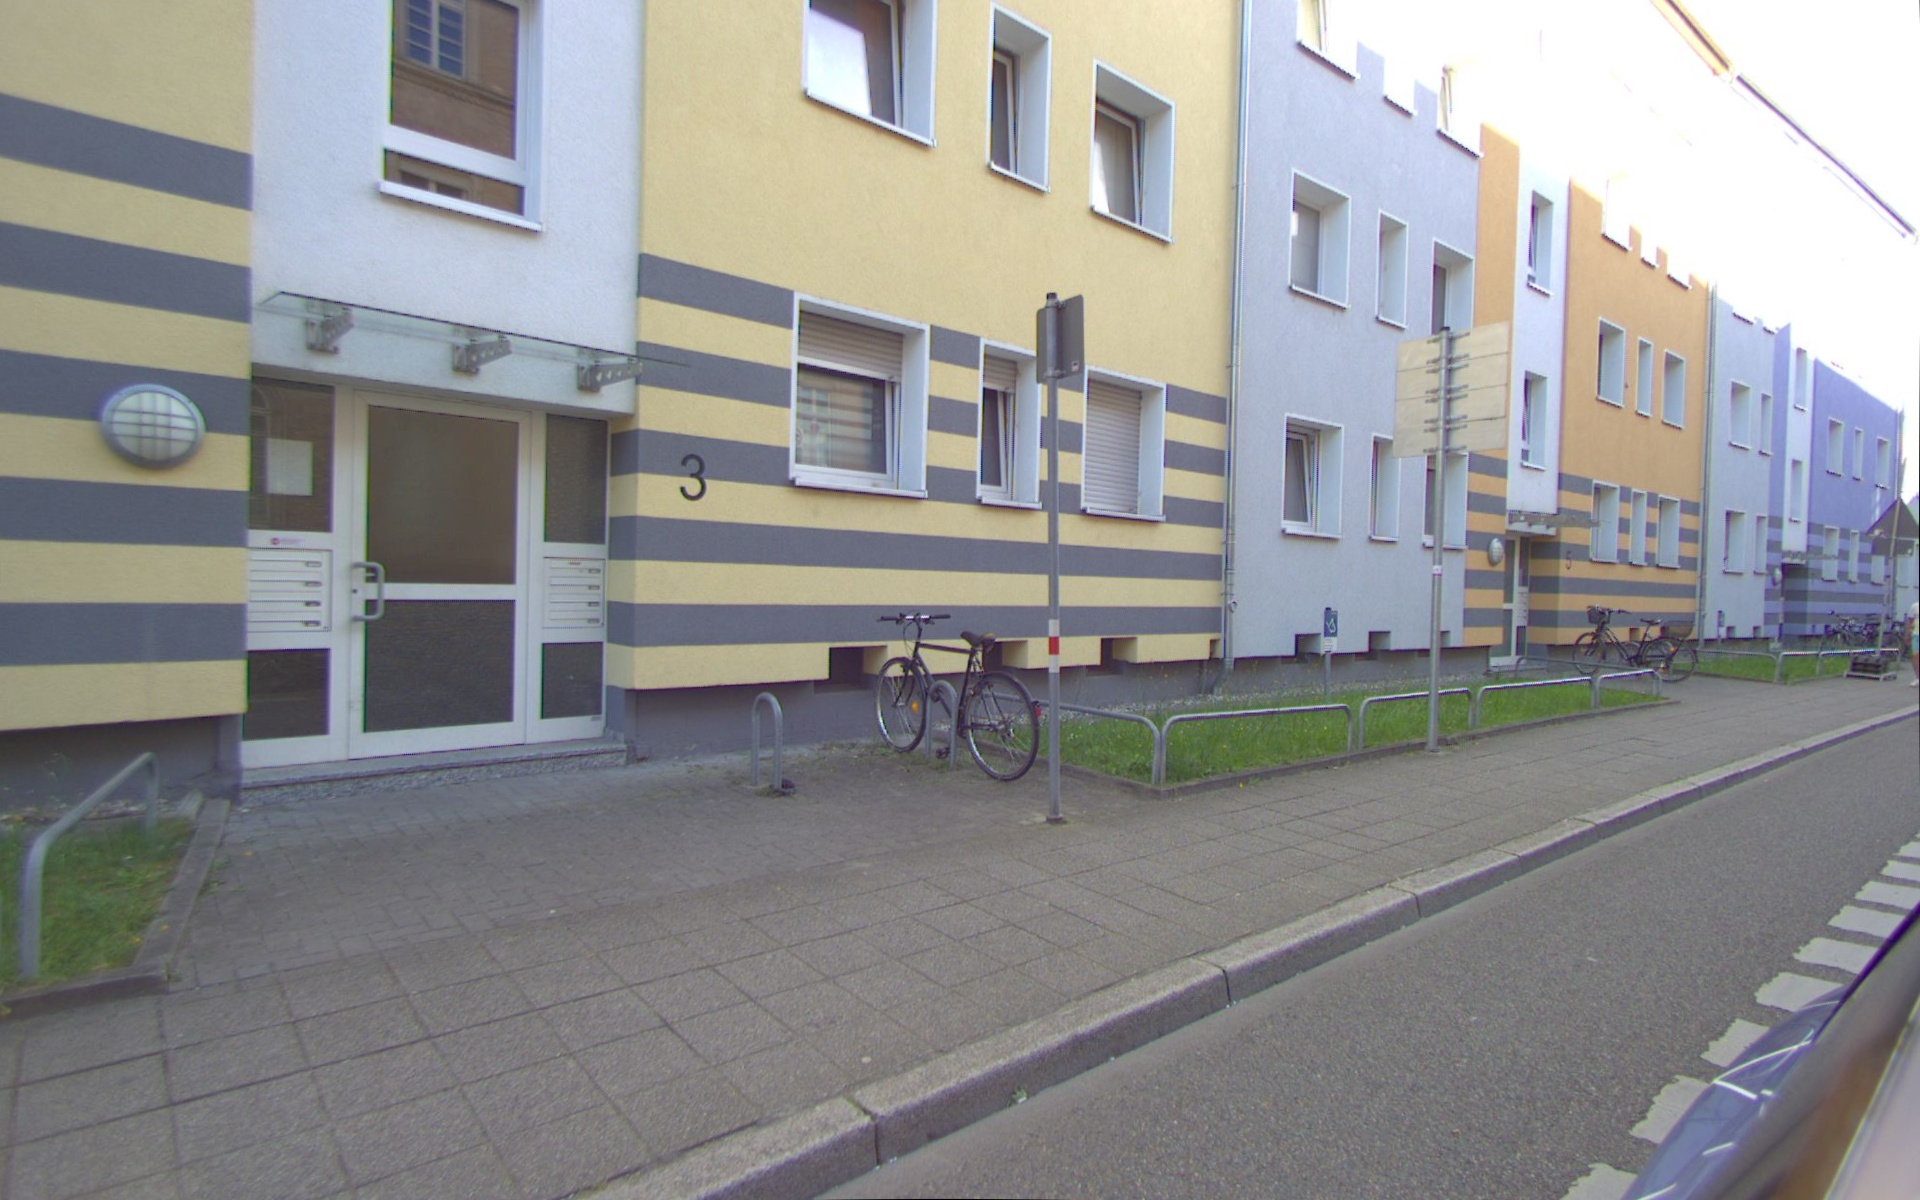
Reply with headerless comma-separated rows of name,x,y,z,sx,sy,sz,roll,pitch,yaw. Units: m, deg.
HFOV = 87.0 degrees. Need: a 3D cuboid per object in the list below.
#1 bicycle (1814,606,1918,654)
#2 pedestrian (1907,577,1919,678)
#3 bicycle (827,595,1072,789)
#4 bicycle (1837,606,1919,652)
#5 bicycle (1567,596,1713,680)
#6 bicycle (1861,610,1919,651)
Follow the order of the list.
bicycle,22.184,0.725,24.814,0.572,1.007,1.779,1,3,-33
pedestrian,16.674,0.479,17.210,0.819,1.692,0.644,1,2,-39
bicycle,-0.128,0.553,6.933,1.773,1.061,0.574,5,4,45
bicycle,23.347,0.728,25.483,0.572,1.007,1.779,1,3,-33
bicycle,10.685,0.563,15.955,0.574,1.138,1.775,0,4,-42
bicycle,24.049,0.784,25.591,0.572,0.950,1.779,1,3,-33
